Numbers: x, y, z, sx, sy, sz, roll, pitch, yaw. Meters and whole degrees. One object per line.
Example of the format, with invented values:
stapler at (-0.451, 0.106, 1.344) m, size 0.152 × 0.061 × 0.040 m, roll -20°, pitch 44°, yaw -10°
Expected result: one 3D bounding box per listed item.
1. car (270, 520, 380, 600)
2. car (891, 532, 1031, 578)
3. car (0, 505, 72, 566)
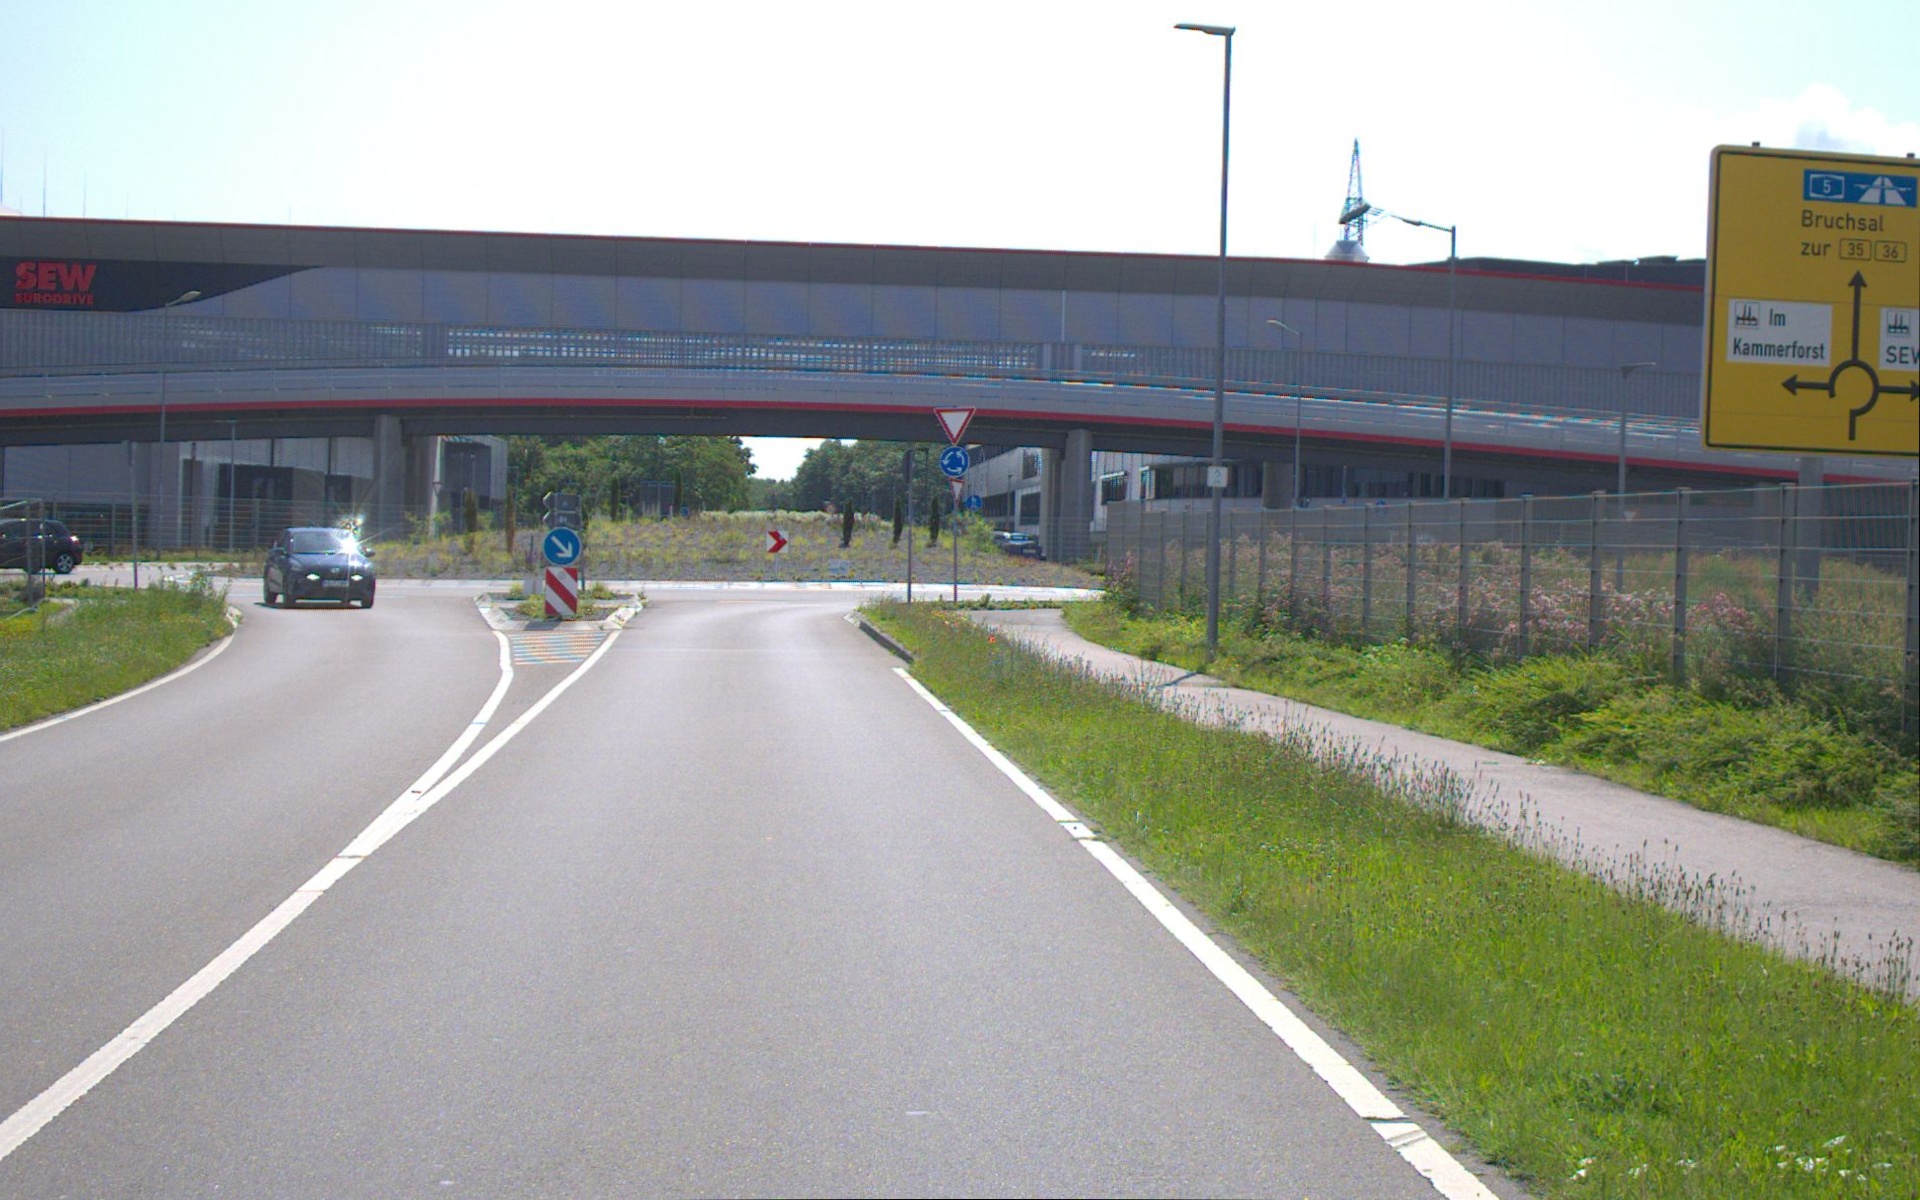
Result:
car at (-12.233, -0.775, 66.091) m, size 1.702 × 1.477 × 4.001 m, roll 0°, pitch 1°, yaw -16°
car at (0.019, -1.395, 105.527) m, size 3.997 × 1.382 × 1.995 m, roll 1°, pitch 1°, yaw 43°
car at (-25.843, -1.719, 91.762) m, size 1.996 × 1.578 × 3.994 m, roll 1°, pitch 1°, yaw 26°
